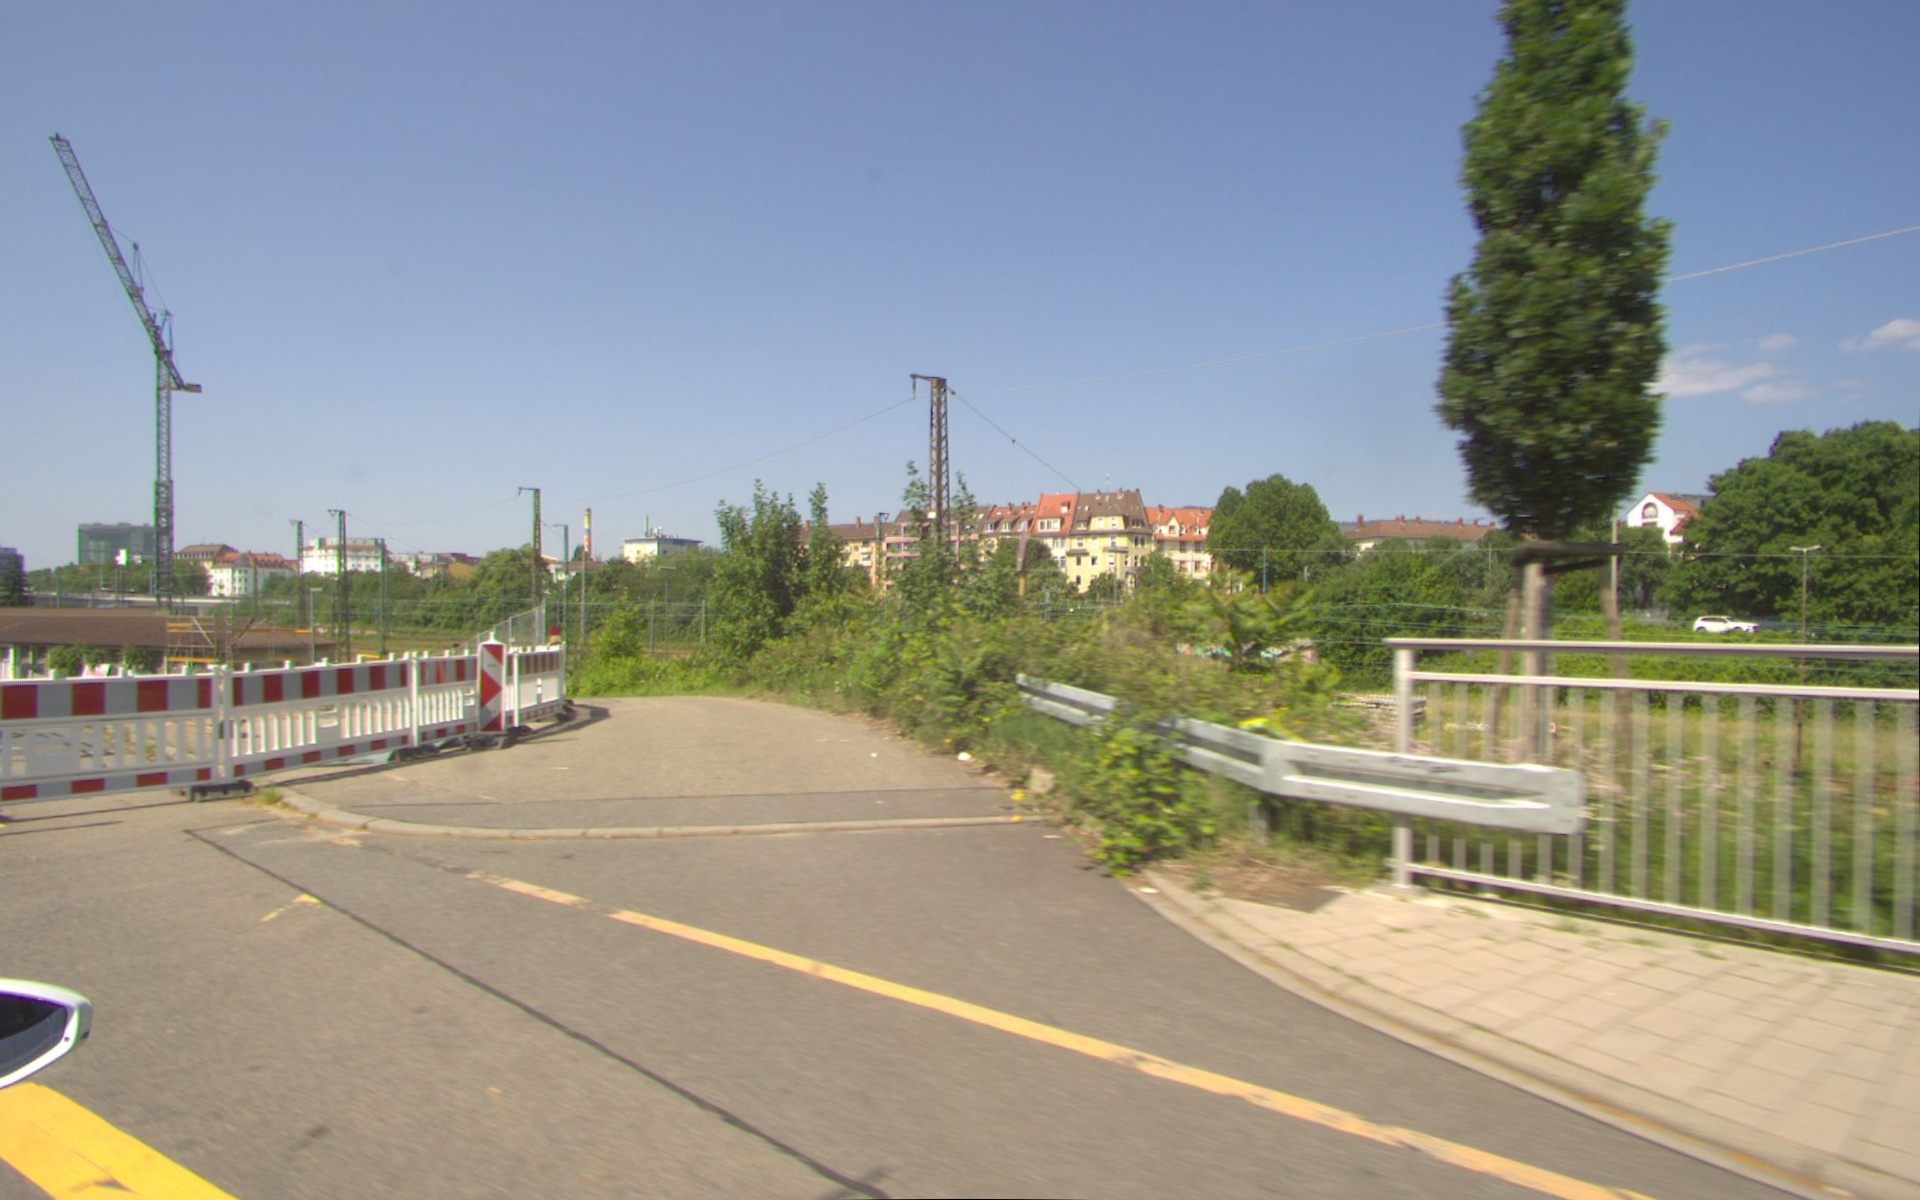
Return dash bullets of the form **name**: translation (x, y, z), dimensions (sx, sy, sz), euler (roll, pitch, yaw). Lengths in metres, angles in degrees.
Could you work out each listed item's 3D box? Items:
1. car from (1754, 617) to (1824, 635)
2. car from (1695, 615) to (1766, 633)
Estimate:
- **car**: translation (63.953, 1.997, 77.327), dimensions (1.752, 1.385, 3.834), euler (0, -1, -19)
- **car**: translation (62.705, 1.946, 81.595), dimensions (1.833, 1.385, 4.307), euler (0, -1, -18)
